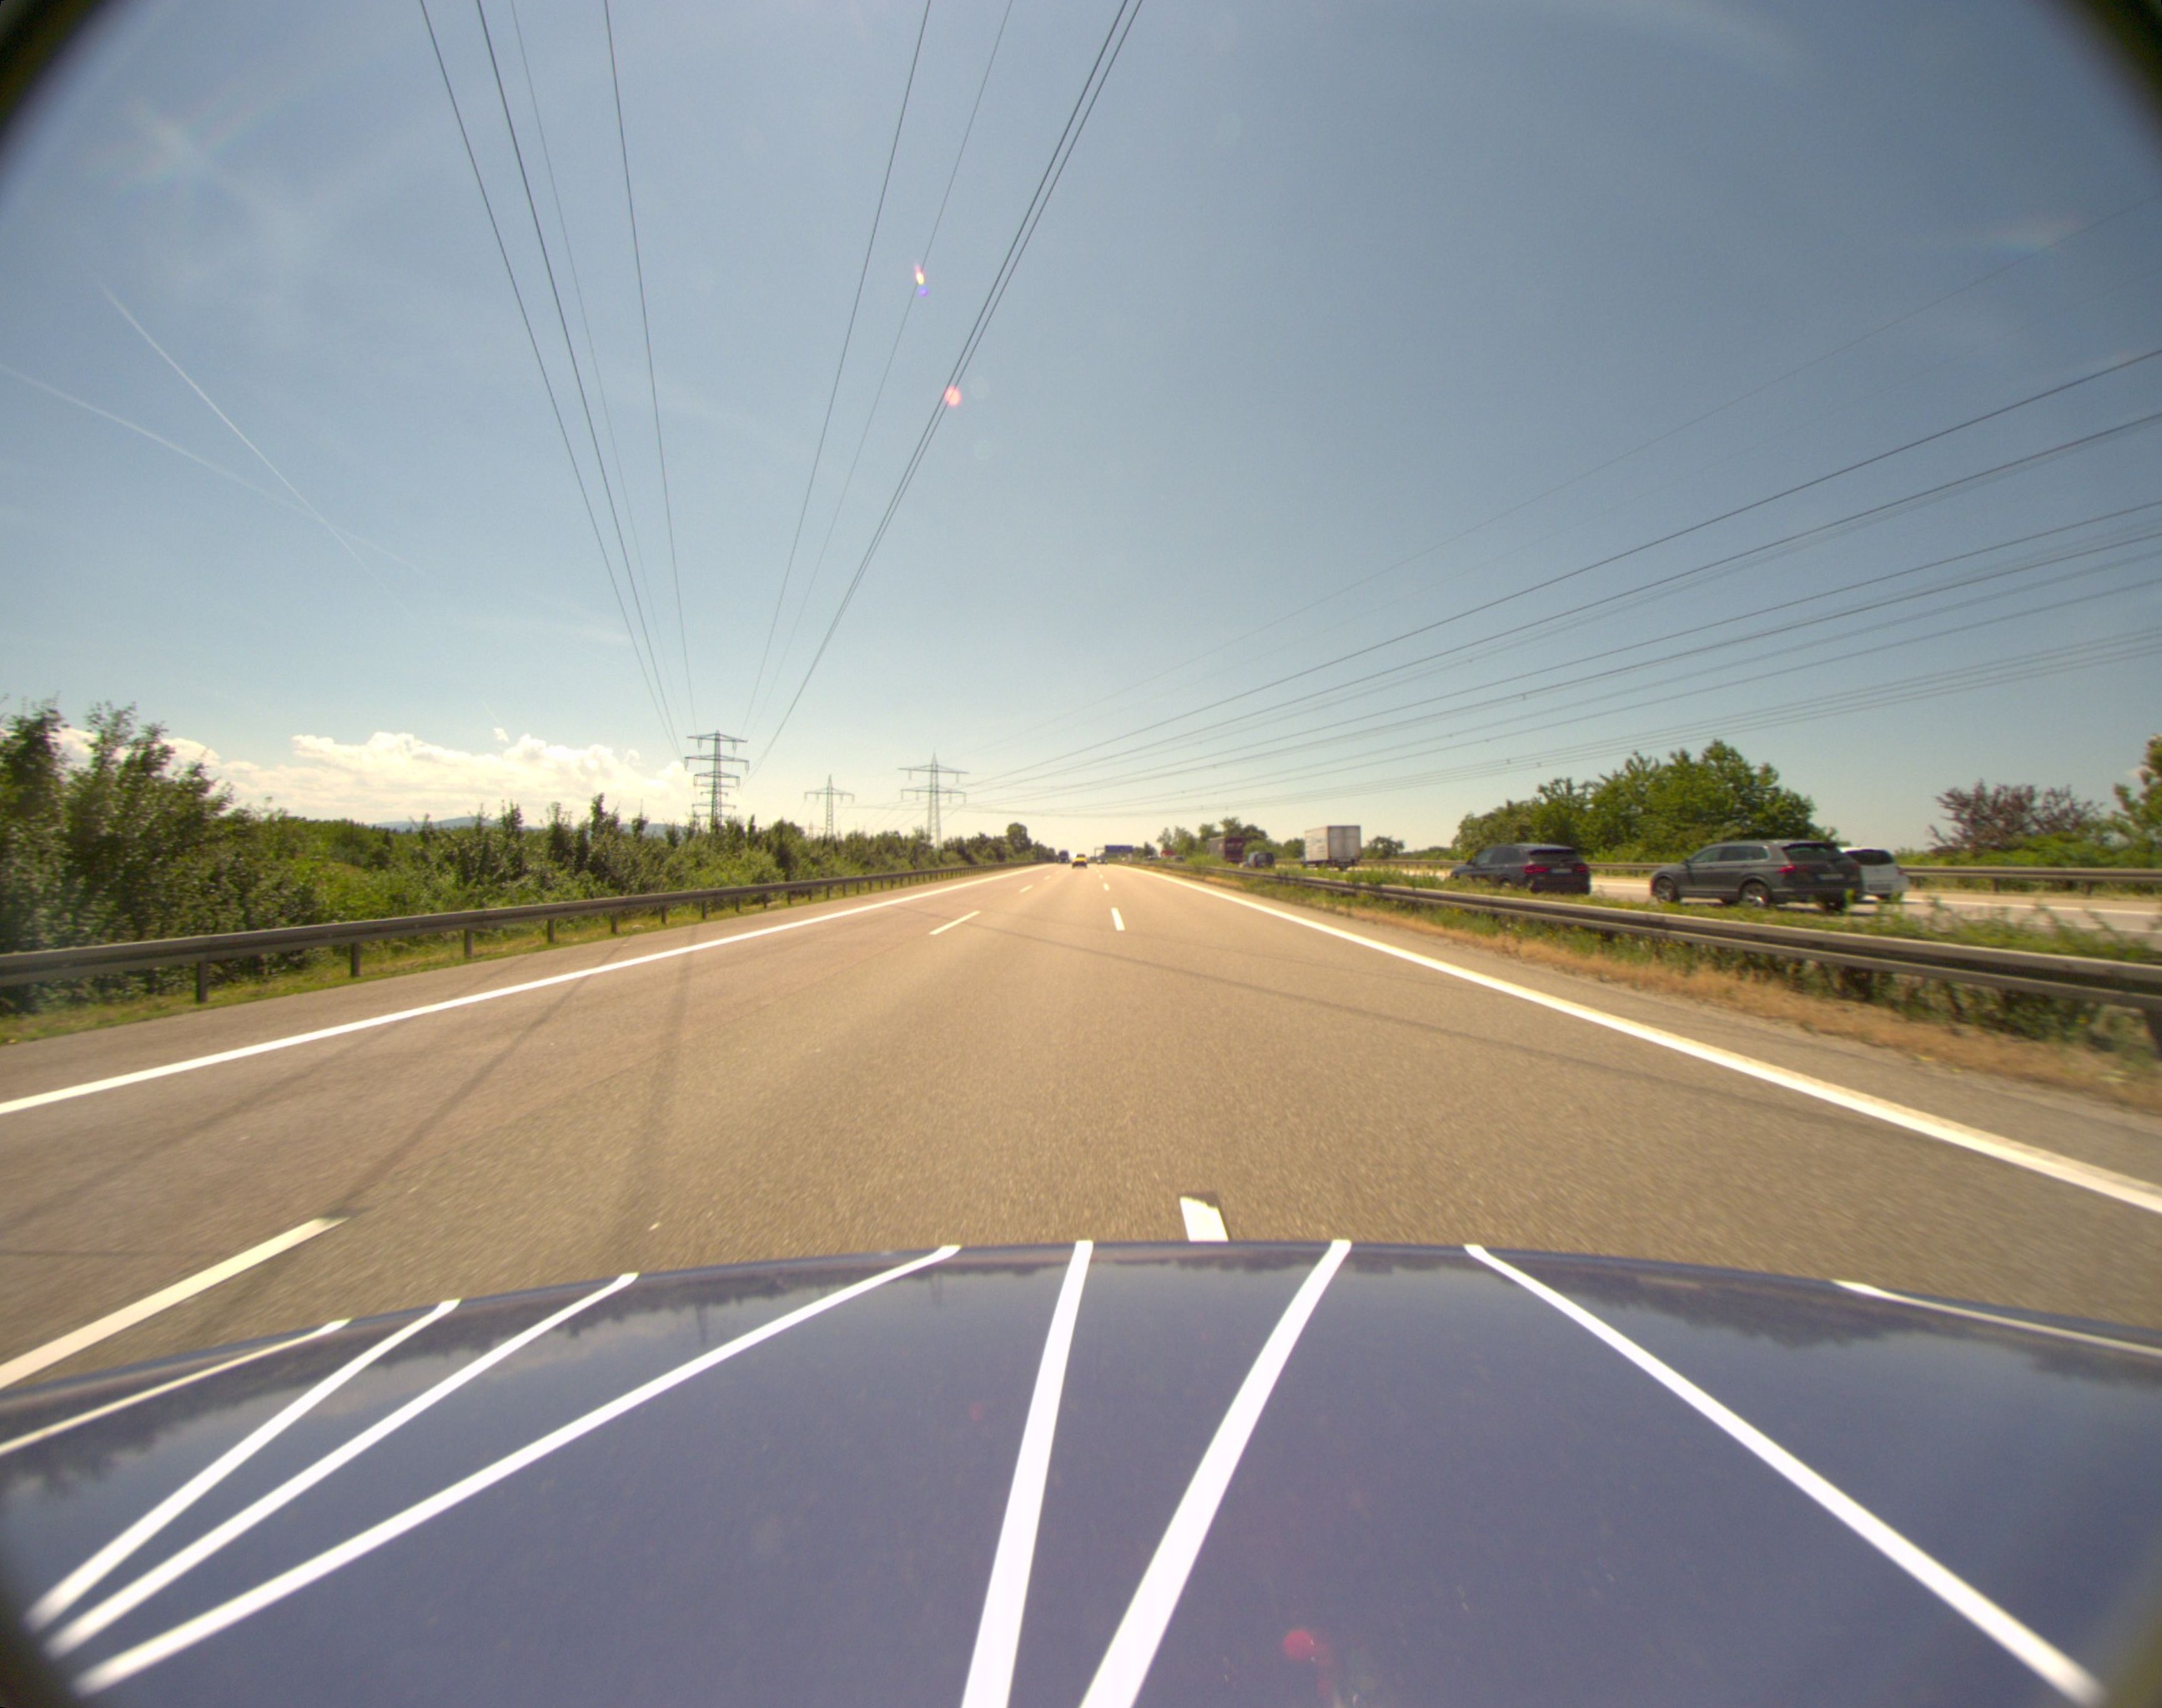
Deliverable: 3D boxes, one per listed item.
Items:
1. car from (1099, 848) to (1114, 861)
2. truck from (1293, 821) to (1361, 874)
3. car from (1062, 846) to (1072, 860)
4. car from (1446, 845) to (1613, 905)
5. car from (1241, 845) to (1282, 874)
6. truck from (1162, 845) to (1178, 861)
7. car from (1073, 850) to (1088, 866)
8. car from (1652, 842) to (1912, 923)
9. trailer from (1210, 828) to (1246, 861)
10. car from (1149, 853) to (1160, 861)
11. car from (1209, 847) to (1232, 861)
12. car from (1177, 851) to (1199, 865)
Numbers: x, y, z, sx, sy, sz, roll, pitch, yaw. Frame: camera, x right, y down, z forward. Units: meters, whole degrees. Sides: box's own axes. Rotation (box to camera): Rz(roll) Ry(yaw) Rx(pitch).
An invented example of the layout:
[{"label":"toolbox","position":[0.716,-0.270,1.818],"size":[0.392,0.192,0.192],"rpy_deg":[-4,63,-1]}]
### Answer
[{"label":"car","position":[4.791,0.107,144.694],"size":[2.687,2.509,5.967],"rpy_deg":[0,-1,0]},{"label":"truck","position":[20.096,-0.445,62.761],"size":[2.459,3.952,9.672],"rpy_deg":[1,-1,1]},{"label":"car","position":[-3.916,-0.368,209.232],"size":[2.687,3.723,6.271],"rpy_deg":[0,-1,0]},{"label":"car","position":[12.097,0.512,20.905],"size":[1.998,1.427,4.411],"rpy_deg":[-2,0,1]},{"label":"car","position":[13.035,0.429,55.115],"size":[1.998,1.962,4.286],"rpy_deg":[-2,-1,1]},{"label":"truck","position":[20.851,-0.226,178.742],"size":[2.777,3.506,8.534],"rpy_deg":[-1,-1,0]},{"label":"car","position":[-0.080,0.511,97.610],"size":[1.955,2.001,5.433],"rpy_deg":[0,-1,0]},{"label":"car","position":[15.920,0.599,17.672],"size":[1.998,1.608,4.412],"rpy_deg":[-2,-1,1]},{"label":"trailer","position":[21.384,-1.208,111.537],"size":[2.655,4.525,13.866],"rpy_deg":[-1,-1,1]},{"label":"car","position":[16.792,0.715,173.084],"size":[1.976,1.763,4.368],"rpy_deg":[-2,-1,0]},{"label":"car","position":[17.192,-0.013,93.832],"size":[1.998,1.608,5.018],"rpy_deg":[-2,-1,1]},{"label":"car","position":[12.994,0.467,92.564],"size":[1.998,1.608,5.018],"rpy_deg":[-2,-1,1]}]
